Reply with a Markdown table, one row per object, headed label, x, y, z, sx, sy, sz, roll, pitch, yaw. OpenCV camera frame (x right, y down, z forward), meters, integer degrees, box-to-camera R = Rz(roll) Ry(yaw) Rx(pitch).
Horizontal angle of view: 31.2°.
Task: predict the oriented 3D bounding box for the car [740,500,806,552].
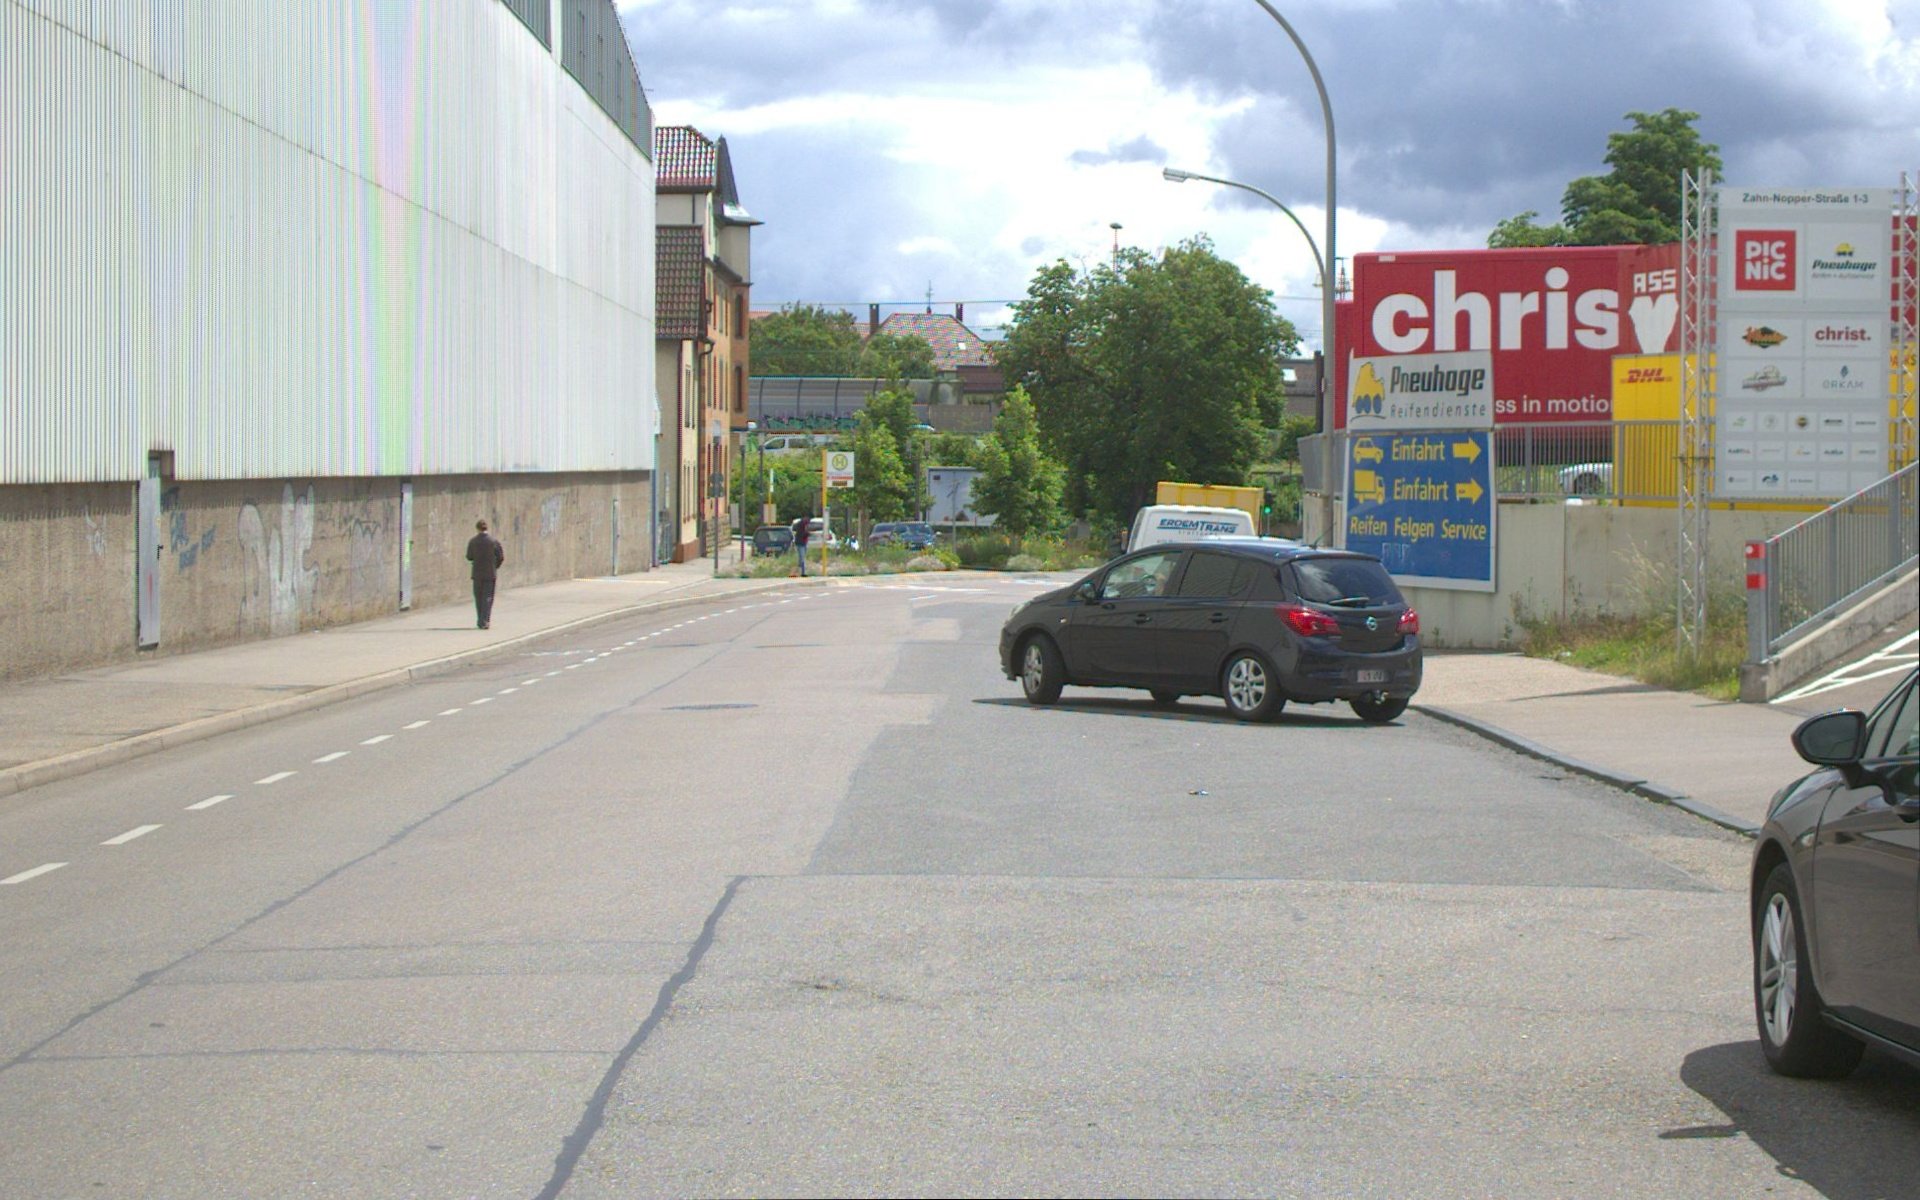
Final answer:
| label | x | y | z | sx | sy | sz | roll | pitch | yaw |
| --- | --- | --- | --- | --- | --- | --- | --- | --- | --- |
| car | -5.703 | -2.240 | 105.369 | 1.852 | 1.481 | 4.000 | 0 | 0 | -1 |

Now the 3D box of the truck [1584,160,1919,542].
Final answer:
| label | x | y | z | sx | sy | sz | roll | pitch | yaw |
| --- | --- | --- | --- | --- | --- | --- | --- | --- | --- |
| truck | 11.302 | -3.073 | 45.601 | 2.573 | 4.434 | 7.865 | 0 | 0 | -17 |

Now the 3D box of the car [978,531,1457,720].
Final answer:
| label | x | y | z | sx | sy | sz | roll | pitch | yaw |
| --- | --- | --- | --- | --- | --- | --- | --- | --- | --- |
| car | 2.106 | 0.162 | 28.832 | 3.791 | 1.442 | 1.702 | 2 | 2 | 44 |

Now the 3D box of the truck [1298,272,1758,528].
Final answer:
| label | x | y | z | sx | sy | sz | roll | pitch | yaw |
| --- | --- | --- | --- | --- | --- | --- | --- | --- | --- |
| truck | 10.797 | -3.738 | 65.481 | 8.454 | 4.655 | 2.581 | 0 | 0 | 11 |

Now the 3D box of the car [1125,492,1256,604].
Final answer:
| label | x | y | z | sx | sy | sz | roll | pitch | yaw |
| --- | --- | --- | --- | --- | --- | --- | --- | --- | --- |
| car | 3.268 | -0.766 | 49.295 | 1.701 | 1.522 | 3.738 | 1 | 1 | 1 |

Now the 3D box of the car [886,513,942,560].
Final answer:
| label | x | y | z | sx | sy | sz | roll | pitch | yaw |
| --- | --- | --- | --- | --- | --- | --- | --- | --- | --- |
| car | -1.563 | -2.153 | 116.920 | 1.852 | 1.481 | 4.000 | 0 | 0 | -1 |

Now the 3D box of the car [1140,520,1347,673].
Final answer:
| label | x | y | z | sx | sy | sz | roll | pitch | yaw |
| --- | --- | --- | --- | --- | --- | --- | --- | --- | --- |
| car | 3.119 | -0.080 | 38.475 | 1.701 | 1.522 | 3.739 | 3 | 1 | -4 |

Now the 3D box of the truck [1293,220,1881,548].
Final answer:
| label | x | y | z | sx | sy | sz | roll | pitch | yaw |
| --- | --- | --- | --- | --- | --- | --- | --- | --- | --- |
| truck | 9.508 | -3.157 | 52.275 | 8.459 | 4.655 | 2.579 | 0 | 0 | 21 |

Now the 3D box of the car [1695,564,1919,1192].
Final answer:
| label | x | y | z | sx | sy | sz | roll | pitch | yaw |
| --- | --- | --- | --- | --- | --- | --- | --- | --- | --- |
| car | 3.145 | 0.675 | 8.351 | 1.714 | 1.468 | 4.511 | 0 | 1 | 0 |

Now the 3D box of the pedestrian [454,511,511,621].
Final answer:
| label | x | y | z | sx | sy | sz | roll | pitch | yaw |
| --- | --- | --- | --- | --- | --- | --- | --- | --- | --- |
| pedestrian | -7.097 | -0.499 | 51.167 | 0.713 | 1.632 | 0.777 | 0 | 0 | 2 |

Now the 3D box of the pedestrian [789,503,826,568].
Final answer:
| label | x | y | z | sx | sy | sz | roll | pitch | yaw |
| --- | --- | --- | --- | --- | --- | --- | --- | --- | --- |
| pedestrian | -3.937 | -1.660 | 89.016 | 0.853 | 1.657 | 0.860 | 0 | 0 | 5 |
